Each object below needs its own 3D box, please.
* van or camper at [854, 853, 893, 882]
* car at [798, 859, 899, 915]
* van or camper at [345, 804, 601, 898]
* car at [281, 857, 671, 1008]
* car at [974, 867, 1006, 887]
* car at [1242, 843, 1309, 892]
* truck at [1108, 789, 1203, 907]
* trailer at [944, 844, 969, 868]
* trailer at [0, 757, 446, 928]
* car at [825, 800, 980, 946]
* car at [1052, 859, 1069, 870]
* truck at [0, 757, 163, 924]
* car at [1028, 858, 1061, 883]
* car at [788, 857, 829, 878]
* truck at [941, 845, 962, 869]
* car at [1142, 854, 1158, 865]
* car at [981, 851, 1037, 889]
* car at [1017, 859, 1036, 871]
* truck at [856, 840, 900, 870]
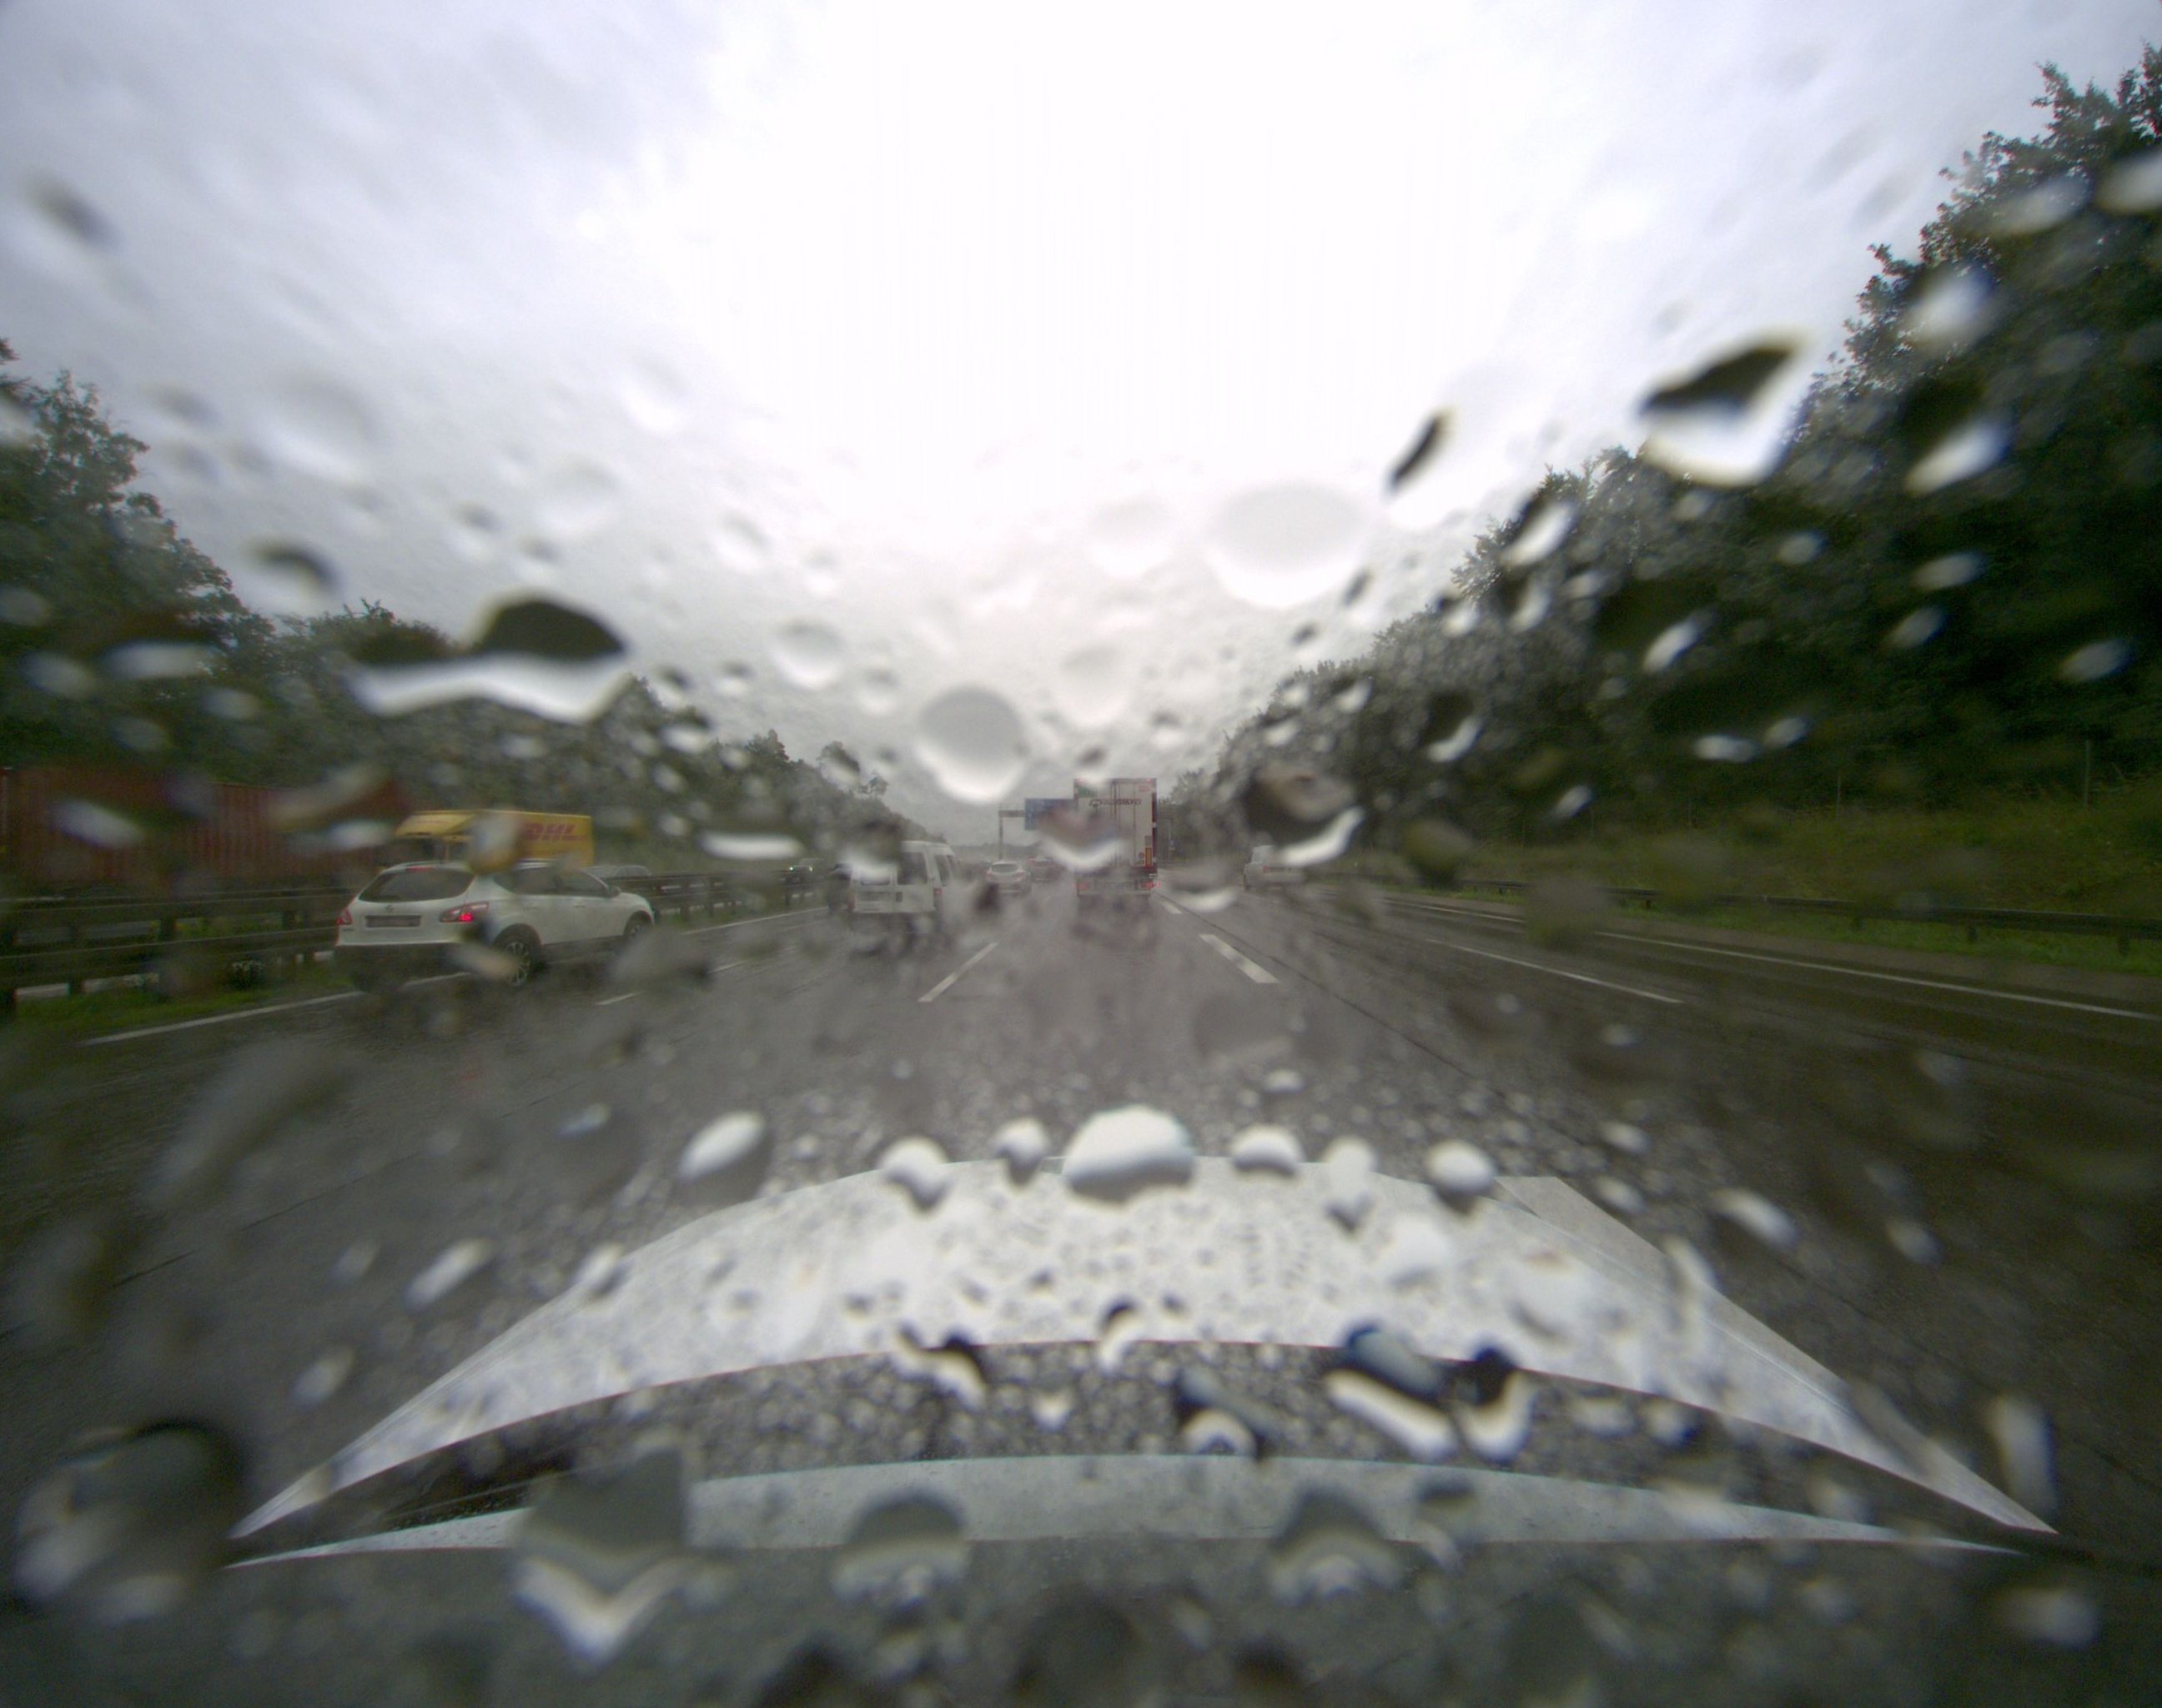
[{"bbox_3d":[-21.609,1.326,85.152,2.160,2.870,7.999,-1,0,-1],"label":"van or camper"},{"bbox_3d":[-7.385,1.002,26.391,1.838,1.591,4.469,-1,0,2],"label":"car"},{"bbox_3d":[-22.116,-0.079,30.523,2.832,2.978,8.788,-1,0,1],"label":"van or camper"},{"bbox_3d":[-7.660,0.855,11.030,1.839,1.591,4.468,-1,0,2],"label":"car"},{"bbox_3d":[-6.855,1.733,61.675,1.839,1.330,4.467,-1,0,1],"label":"car"},{"bbox_3d":[8.139,0.523,34.517,1.981,1.921,4.772,-1,0,4],"label":"car"},{"bbox_3d":[2.635,-0.147,30.429,2.860,3.562,11.312,-1,-1,4],"label":"truck"},{"bbox_3d":[-21.868,0.379,143.843,2.533,4.025,13.845,0,0,-1],"label":"trailer"},{"bbox_3d":[-25.996,-0.247,25.391,2.610,4.025,12.374,0,0,1],"label":"trailer"},{"bbox_3d":[-3.481,0.322,17.024,2.206,2.573,5.013,-1,0,-1],"label":"car"},{"bbox_3d":[-2.420,1.245,97.987,1.839,1.330,4.467,-1,0,1],"label":"car"},{"bbox_3d":[-26.092,-0.298,18.746,2.694,3.818,6.265,-1,0,1],"label":"truck"},{"bbox_3d":[-2.527,1.131,57.397,1.838,1.591,4.470,-1,0,3],"label":"car"},{"bbox_3d":[-21.445,1.058,64.293,1.839,1.579,4.001,-1,0,1],"label":"car"},{"bbox_3d":[-21.804,0.507,137.053,2.532,4.025,6.323,0,0,0],"label":"truck"},{"bbox_3d":[8.767,0.690,103.563,1.784,1.407,4.229,-1,0,1],"label":"car"},{"bbox_3d":[-3.186,0.663,36.715,1.837,1.591,4.077,-1,0,4],"label":"car"},{"bbox_3d":[-6.424,1.278,95.790,1.839,1.330,4.467,-1,0,1],"label":"car"},{"bbox_3d":[-25.481,0.112,102.763,2.511,3.483,11.720,-1,0,1],"label":"truck"}]
